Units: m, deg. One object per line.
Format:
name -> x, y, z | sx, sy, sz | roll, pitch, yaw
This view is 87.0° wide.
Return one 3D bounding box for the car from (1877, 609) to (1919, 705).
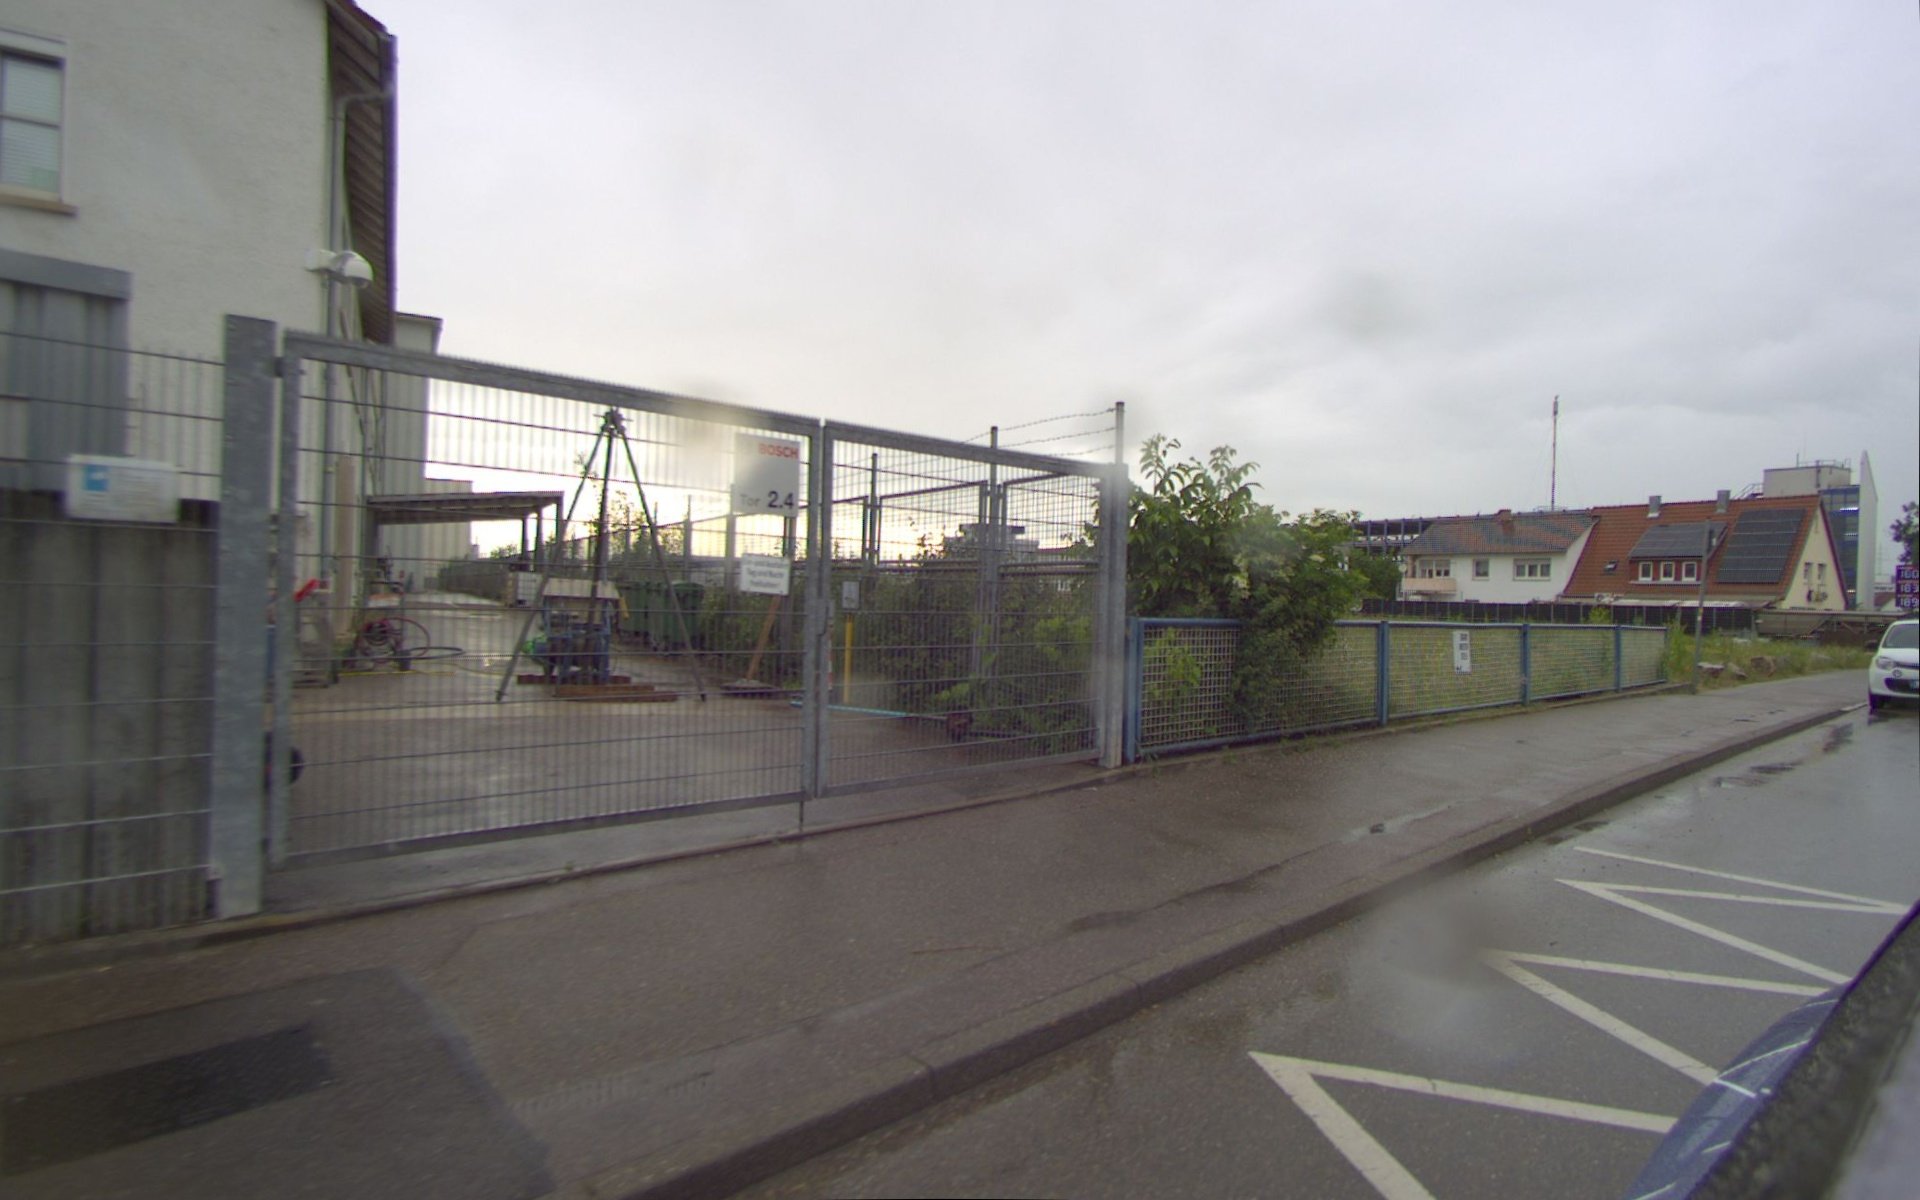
car -> 17.429, 0.995, 17.751 | 3.611, 1.577, 1.683 | 2, -1, -43
